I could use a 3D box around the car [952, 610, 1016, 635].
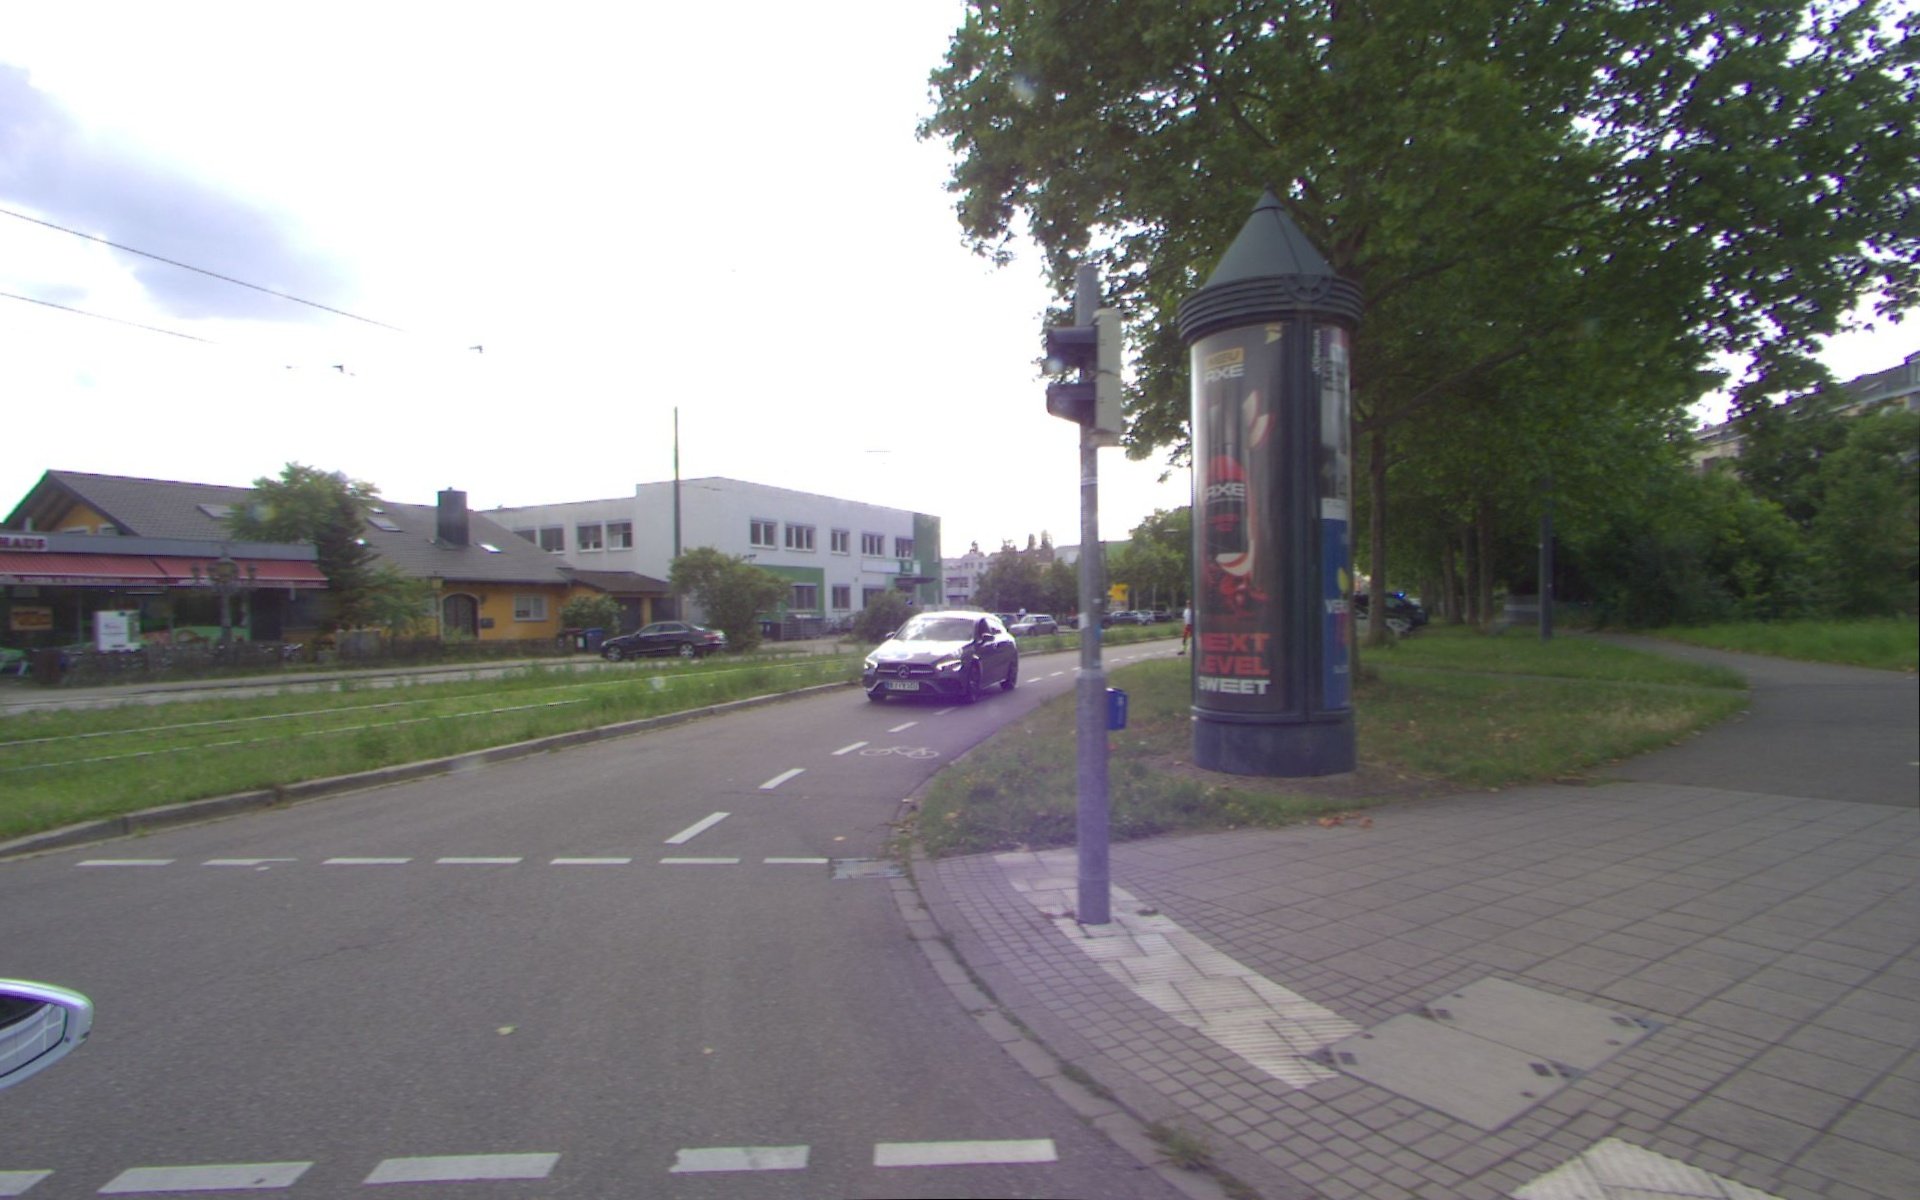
[{"bbox_3d":[1.622,1.512,67.784,4.231,1.650,1.902,0,0,-2],"label":"car"}]

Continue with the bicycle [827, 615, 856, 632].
[{"bbox_3d":[-7.628,1.525,64.446,1.767,1.096,0.734,-1,0,24],"label":"bicycle"}]

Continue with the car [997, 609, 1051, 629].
[{"bbox_3d":[4.879,1.465,76.370,4.089,1.523,1.861,0,0,3],"label":"car"}]

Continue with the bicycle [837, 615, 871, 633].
[{"bbox_3d":[-7.206,1.625,68.030,2.318,1.181,0.756,-1,0,32],"label":"bicycle"}]

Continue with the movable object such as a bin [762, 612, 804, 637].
[{"bbox_3d":[-10.005,1.391,56.671,1.356,1.344,2.108,-1,0,29],"label":"movable object such as a bin"}]

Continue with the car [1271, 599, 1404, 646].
[{"bbox_3d":[13.962,0.857,37.053,4.468,1.665,1.995,-1,-2,24],"label":"car"}]

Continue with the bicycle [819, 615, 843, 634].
[{"bbox_3d":[-8.512,1.614,65.956,1.603,1.181,0.700,-1,0,42],"label":"bicycle"}]

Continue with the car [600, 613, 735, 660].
[{"bbox_3d":[-11.134,1.384,38.263,4.491,1.601,2.000,-2,0,6],"label":"car"}]

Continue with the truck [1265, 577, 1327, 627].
[{"bbox_3d":[23.959,0.177,71.134,3.143,3.361,7.496,-1,0,26],"label":"truck"}]

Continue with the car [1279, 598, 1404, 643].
[{"bbox_3d":[15.005,0.832,39.410,4.468,1.665,1.995,-1,-2,24],"label":"car"}]

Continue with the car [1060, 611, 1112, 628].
[{"bbox_3d":[10.810,1.679,86.161,4.231,1.381,1.902,-1,0,2],"label":"car"}]

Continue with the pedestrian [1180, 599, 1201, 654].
[{"bbox_3d":[7.185,0.833,31.227,0.577,1.706,0.493,0,0,24],"label":"pedestrian"}]

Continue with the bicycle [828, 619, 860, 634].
[{"bbox_3d":[-7.796,1.809,67.310,2.127,0.983,0.727,-1,0,30],"label":"bicycle"}]

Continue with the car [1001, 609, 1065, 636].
[{"bbox_3d":[4.710,1.420,63.983,1.880,1.650,4.280,0,-1,41],"label":"car"}]

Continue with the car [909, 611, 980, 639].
[{"bbox_3d":[-1.006,1.519,62.335,4.232,1.650,1.901,-1,0,-7],"label":"car"}]

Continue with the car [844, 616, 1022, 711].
[{"bbox_3d":[-0.304,0.999,17.610,1.807,1.411,4.600,0,0,16],"label":"car"}]

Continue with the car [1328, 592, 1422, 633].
[{"bbox_3d":[21.845,0.666,52.716,4.484,2.040,1.993,-1,-1,27],"label":"car"}]

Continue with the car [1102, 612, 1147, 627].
[{"bbox_3d":[16.186,1.881,98.627,4.231,1.381,1.902,-1,0,3],"label":"car"}]

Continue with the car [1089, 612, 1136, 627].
[{"bbox_3d":[14.573,1.830,95.731,4.231,1.381,1.902,-1,0,3],"label":"car"}]

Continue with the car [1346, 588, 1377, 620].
[{"bbox_3d":[44.846,0.484,111.654,2.925,3.374,7.438,1,0,24],"label":"car"}]

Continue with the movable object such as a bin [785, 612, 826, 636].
[{"bbox_3d":[-9.016,1.401,58.616,1.356,1.344,2.122,-1,0,29],"label":"movable object such as a bin"}]
